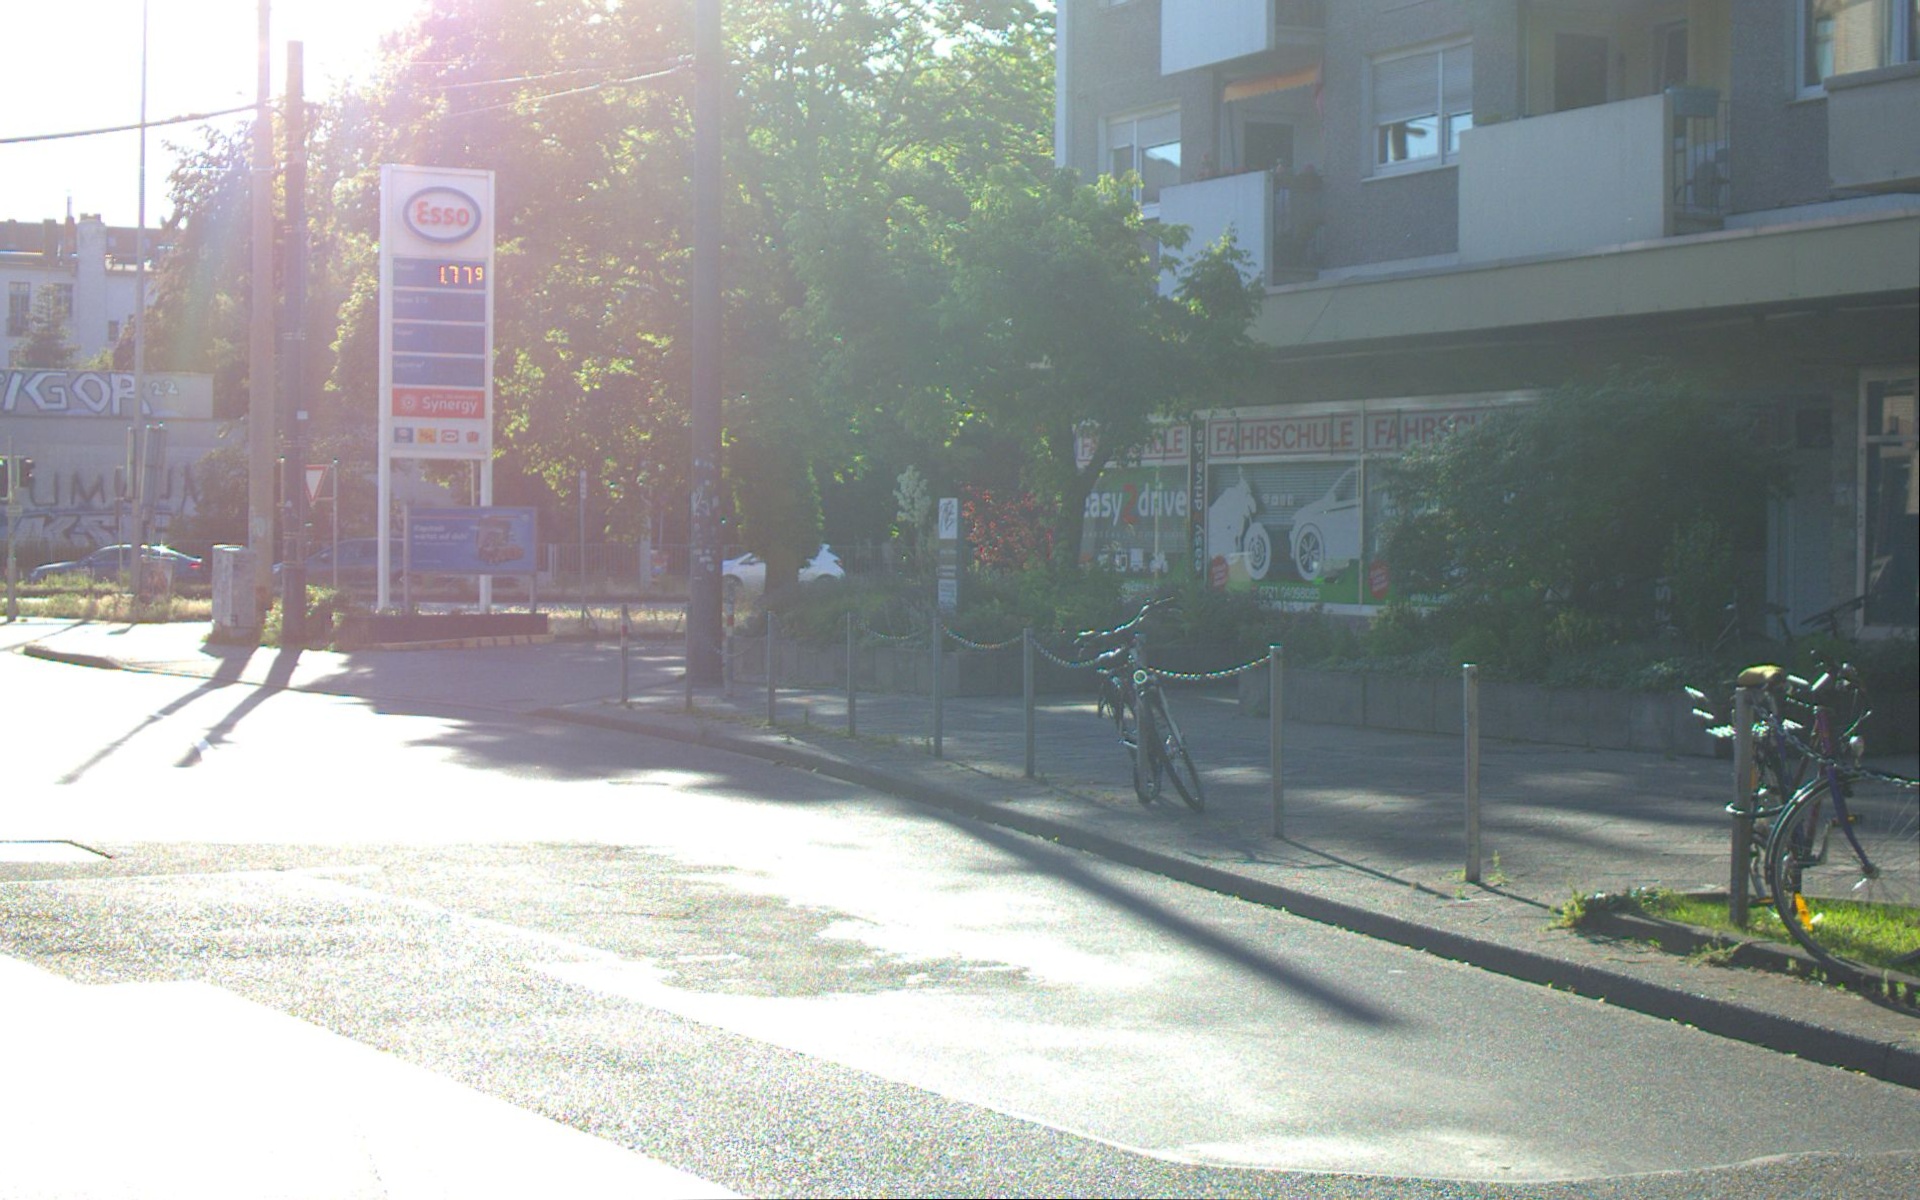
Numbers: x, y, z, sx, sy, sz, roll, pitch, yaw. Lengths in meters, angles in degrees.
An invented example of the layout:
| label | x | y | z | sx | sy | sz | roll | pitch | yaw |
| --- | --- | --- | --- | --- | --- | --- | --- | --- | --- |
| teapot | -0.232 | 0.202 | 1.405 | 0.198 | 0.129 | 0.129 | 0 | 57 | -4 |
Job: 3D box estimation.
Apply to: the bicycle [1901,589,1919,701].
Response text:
| label | x | y | z | sx | sy | sz | roll | pitch | yaw |
| --- | --- | --- | --- | --- | --- | --- | --- | --- | --- |
| bicycle | 8.476 | 0.386 | 28.701 | 0.431 | 0.939 | 1.325 | 0 | 1 | -25 |

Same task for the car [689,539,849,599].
| label | x | y | z | sx | sy | sz | roll | pitch | yaw |
| --- | --- | --- | --- | --- | --- | --- | --- | --- | --- |
| car | -4.933 | -0.799 | 88.611 | 3.986 | 1.502 | 1.673 | 0 | 1 | -7 |

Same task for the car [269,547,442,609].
| label | x | y | z | sx | sy | sz | roll | pitch | yaw |
| --- | --- | --- | --- | --- | --- | --- | --- | --- | --- |
| car | -14.535 | -0.526 | 82.792 | 3.986 | 1.448 | 1.810 | 0 | 1 | -6 |

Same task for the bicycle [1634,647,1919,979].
| label | x | y | z | sx | sy | sz | roll | pitch | yaw |
| --- | --- | --- | --- | --- | --- | --- | --- | --- | --- |
| bicycle | 2.940 | 0.709 | 12.260 | 0.638 | 1.019 | 2.088 | 0 | 1 | -1 |

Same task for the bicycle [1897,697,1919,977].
| label | x | y | z | sx | sy | sz | roll | pitch | yaw |
| --- | --- | --- | --- | --- | --- | --- | --- | --- | --- |
| bicycle | 3.585 | 0.784 | 10.505 | 0.542 | 0.901 | 1.736 | 0 | 1 | -17 |

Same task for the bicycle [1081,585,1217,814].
| label | x | y | z | sx | sy | sz | roll | pitch | yaw |
| --- | --- | --- | --- | --- | --- | --- | --- | --- | --- |
| bicycle | 1.066 | 0.538 | 19.801 | 0.638 | 1.222 | 2.088 | 0 | 1 | -1 |

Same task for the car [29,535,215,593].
| label | x | y | z | sx | sy | sz | roll | pitch | yaw |
| --- | --- | --- | --- | --- | --- | --- | --- | --- | --- |
| car | -22.004 | -0.952 | 90.362 | 4.475 | 1.482 | 1.780 | 0 | 1 | -2 |
